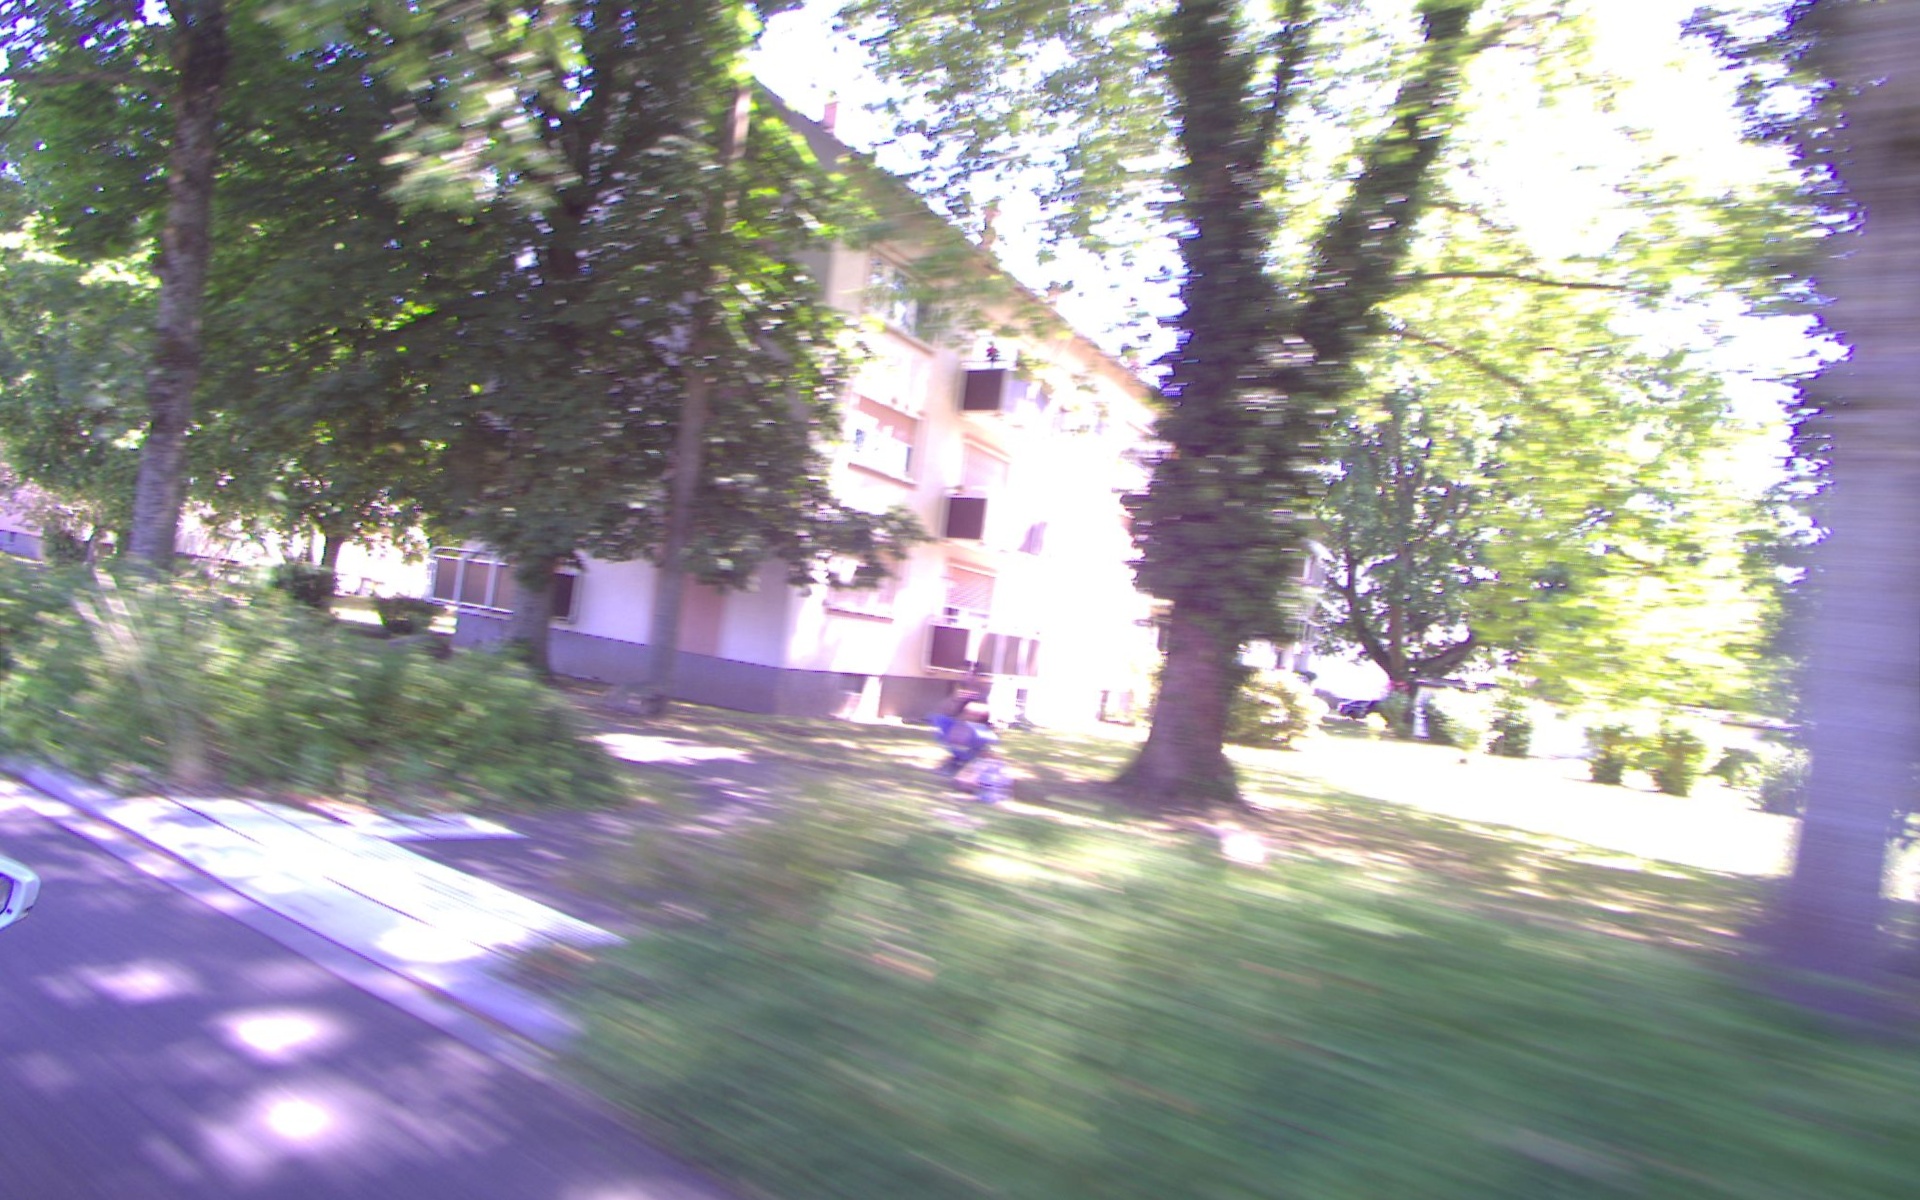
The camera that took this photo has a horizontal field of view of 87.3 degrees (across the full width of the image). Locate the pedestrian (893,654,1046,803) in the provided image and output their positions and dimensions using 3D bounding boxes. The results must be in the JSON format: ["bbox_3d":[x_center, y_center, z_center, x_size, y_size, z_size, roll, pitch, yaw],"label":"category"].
[{"bbox_3d":[0.095,1.284,10.192,1.055,1.308,0.937,6,-2,43],"label":"pedestrian"}]
